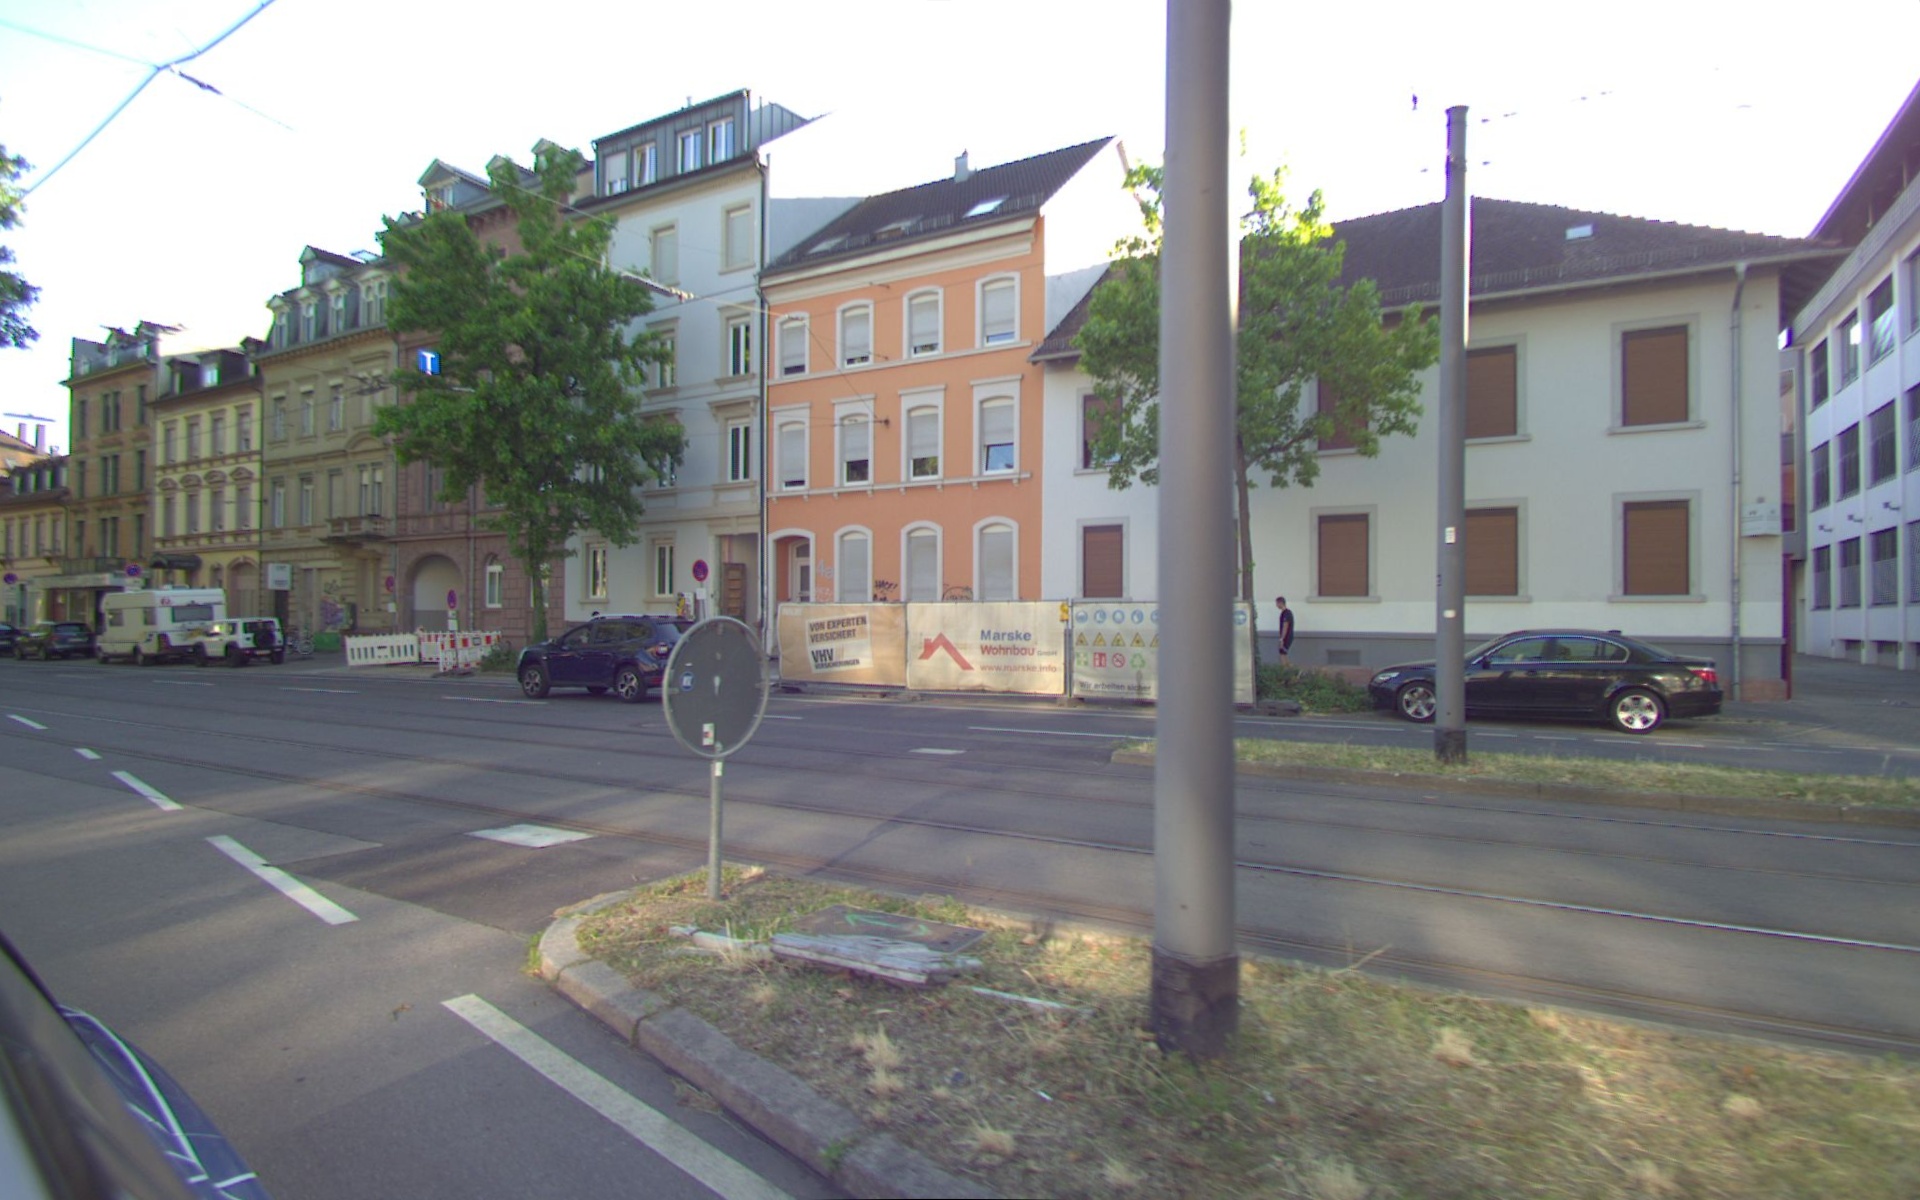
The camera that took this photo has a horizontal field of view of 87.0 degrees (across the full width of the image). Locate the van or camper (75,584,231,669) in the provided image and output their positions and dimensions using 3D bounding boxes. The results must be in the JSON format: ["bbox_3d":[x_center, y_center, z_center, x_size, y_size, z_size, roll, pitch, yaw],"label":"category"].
[{"bbox_3d":[-31.396,0.995,39.267,7.226,2.969,2.401,-1,2,32],"label":"van or camper"}]

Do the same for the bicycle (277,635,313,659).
[{"bbox_3d":[-27.327,1.917,41.594,1.786,0.931,0.574,-1,-2,33],"label":"bicycle"}]

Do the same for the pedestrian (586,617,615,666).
[{"bbox_3d":[-11.138,1.274,31.345,0.605,1.472,0.572,-1,0,30],"label":"pedestrian"}]

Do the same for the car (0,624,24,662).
[{"bbox_3d":[-46.375,2.033,47.701,4.731,1.715,1.980,-1,2,30],"label":"car"}]

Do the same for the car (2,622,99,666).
[{"bbox_3d":[-39.551,1.892,44.001,4.425,1.718,1.798,-1,2,30],"label":"car"}]

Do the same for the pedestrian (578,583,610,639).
[{"bbox_3d":[-11.043,0.333,30.523,0.685,1.666,0.564,-1,0,29],"label":"pedestrian"}]

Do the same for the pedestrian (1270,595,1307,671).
[{"bbox_3d":[7.017,0.694,21.591,0.636,1.582,0.590,-1,-2,29],"label":"pedestrian"}]

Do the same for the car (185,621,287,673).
[{"bbox_3d":[-25.900,1.644,36.223,3.355,1.718,1.620,-1,1,28],"label":"car"}]

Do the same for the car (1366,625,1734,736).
[{"bbox_3d":[9.027,1.162,15.907,4.706,1.525,1.980,-1,-2,30],"label":"car"}]

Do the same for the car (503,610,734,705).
[{"bbox_3d":[-6.770,1.083,20.038,4.291,1.702,1.980,-1,-2,29],"label":"car"}]
